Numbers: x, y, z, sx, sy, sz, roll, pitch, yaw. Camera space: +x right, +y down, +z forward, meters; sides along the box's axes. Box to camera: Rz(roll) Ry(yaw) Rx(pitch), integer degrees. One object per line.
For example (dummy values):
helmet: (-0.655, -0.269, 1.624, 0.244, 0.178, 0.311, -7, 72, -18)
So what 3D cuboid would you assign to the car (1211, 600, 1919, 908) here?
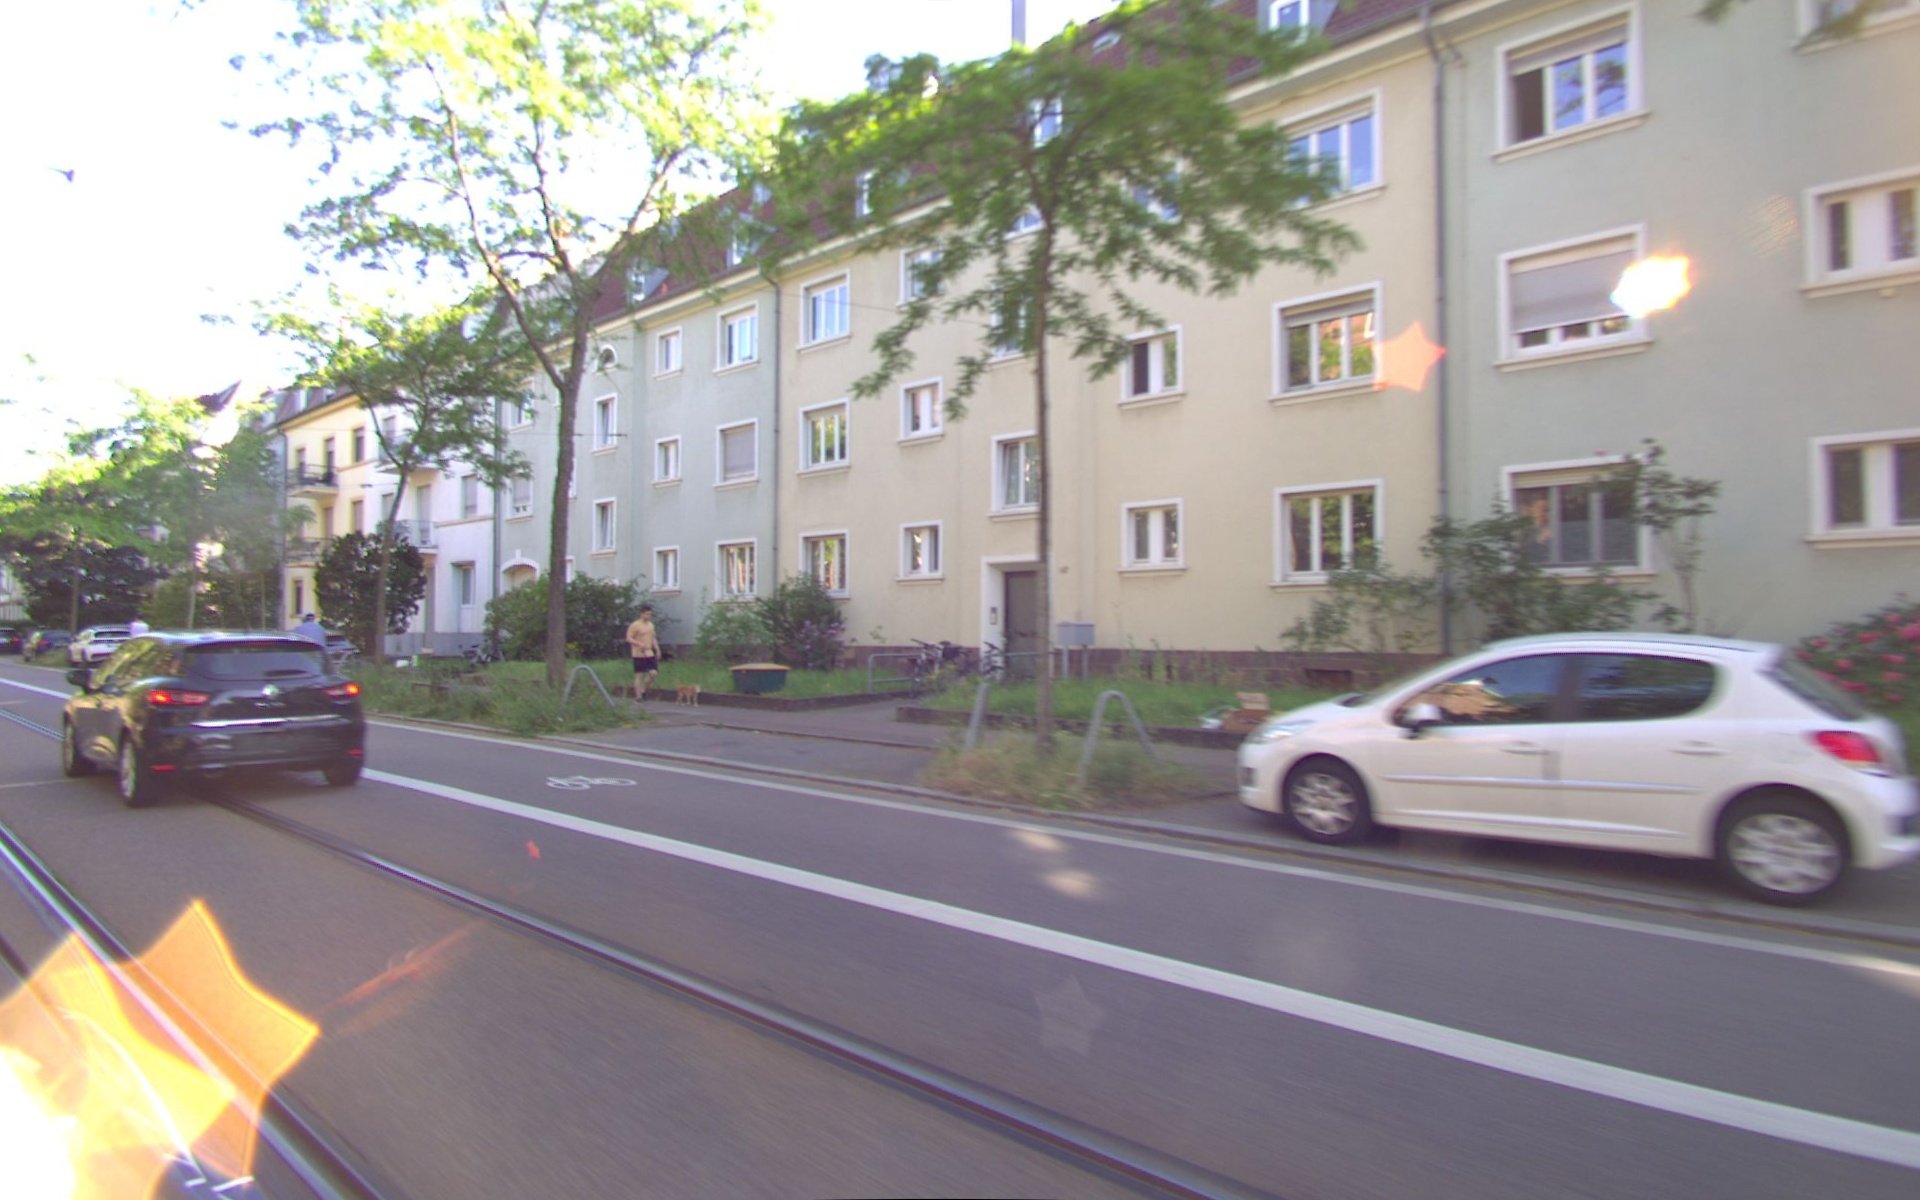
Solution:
car: (3.989, 0.811, 6.912, 4.076, 1.496, 1.685, -2, 1, 41)

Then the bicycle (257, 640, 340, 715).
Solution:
bicycle: (-11.236, 1.293, 17.166, 1.912, 1.186, 0.620, -1, -5, 41)

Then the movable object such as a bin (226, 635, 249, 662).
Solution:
movable object such as a bin: (-27.781, 1.866, 38.920, 0.733, 0.983, 0.553, -2, 0, 43)

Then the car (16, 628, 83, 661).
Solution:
car: (-41.977, 2.010, 46.649, 4.329, 1.417, 1.688, -2, -1, 40)

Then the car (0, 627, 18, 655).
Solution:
car: (-56.562, 2.406, 59.132, 4.483, 1.553, 1.758, -2, -1, 41)

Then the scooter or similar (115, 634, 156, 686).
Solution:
scooter or similar: (-21.226, 1.531, 26.047, 1.376, 1.307, 0.515, -2, -5, 41)

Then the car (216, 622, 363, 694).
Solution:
car: (-15.817, 1.307, 23.787, 4.203, 1.496, 1.798, -2, -1, 41)

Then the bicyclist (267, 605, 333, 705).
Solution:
bicyclist: (-11.203, 0.932, 17.171, 0.939, 1.652, 0.619, -2, -5, 40)

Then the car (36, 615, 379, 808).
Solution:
car: (-7.227, 0.887, 9.576, 4.067, 1.450, 1.682, -1, -2, 39)

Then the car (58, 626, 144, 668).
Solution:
car: (-33.476, 1.801, 39.410, 4.367, 1.522, 1.799, -2, -1, 39)

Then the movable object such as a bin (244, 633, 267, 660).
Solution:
movable object such as a bin: (-27.386, 1.805, 39.337, 0.733, 0.983, 0.553, -2, 0, 43)

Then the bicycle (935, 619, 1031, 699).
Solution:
bicycle: (0.407, 0.928, 16.570, 0.521, 1.186, 1.889, -1, 0, 38)

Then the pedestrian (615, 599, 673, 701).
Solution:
pedestrian: (-5.815, 0.908, 18.642, 0.813, 1.815, 0.684, -2, -2, 40)

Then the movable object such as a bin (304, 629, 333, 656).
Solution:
movable object such as a bin: (-26.299, 1.729, 41.470, 0.733, 1.054, 0.835, -2, 0, 43)

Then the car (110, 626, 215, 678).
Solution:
car: (-25.508, 1.609, 32.319, 4.434, 1.522, 1.740, -2, -1, 39)

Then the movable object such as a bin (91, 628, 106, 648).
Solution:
movable object such as a bin: (-46.186, 2.030, 54.251, 0.670, 1.074, 0.535, -2, -2, 41)

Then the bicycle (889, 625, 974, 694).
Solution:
bicycle: (-0.516, 1.099, 19.240, 0.521, 1.186, 1.889, -1, 0, 38)

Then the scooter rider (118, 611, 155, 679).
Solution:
scooter rider: (-21.222, 1.161, 26.075, 0.786, 1.712, 0.491, -2, -5, 40)

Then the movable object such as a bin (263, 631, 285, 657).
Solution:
movable object such as a bin: (-27.003, 1.724, 39.824, 0.733, 0.983, 0.553, -2, 0, 43)
